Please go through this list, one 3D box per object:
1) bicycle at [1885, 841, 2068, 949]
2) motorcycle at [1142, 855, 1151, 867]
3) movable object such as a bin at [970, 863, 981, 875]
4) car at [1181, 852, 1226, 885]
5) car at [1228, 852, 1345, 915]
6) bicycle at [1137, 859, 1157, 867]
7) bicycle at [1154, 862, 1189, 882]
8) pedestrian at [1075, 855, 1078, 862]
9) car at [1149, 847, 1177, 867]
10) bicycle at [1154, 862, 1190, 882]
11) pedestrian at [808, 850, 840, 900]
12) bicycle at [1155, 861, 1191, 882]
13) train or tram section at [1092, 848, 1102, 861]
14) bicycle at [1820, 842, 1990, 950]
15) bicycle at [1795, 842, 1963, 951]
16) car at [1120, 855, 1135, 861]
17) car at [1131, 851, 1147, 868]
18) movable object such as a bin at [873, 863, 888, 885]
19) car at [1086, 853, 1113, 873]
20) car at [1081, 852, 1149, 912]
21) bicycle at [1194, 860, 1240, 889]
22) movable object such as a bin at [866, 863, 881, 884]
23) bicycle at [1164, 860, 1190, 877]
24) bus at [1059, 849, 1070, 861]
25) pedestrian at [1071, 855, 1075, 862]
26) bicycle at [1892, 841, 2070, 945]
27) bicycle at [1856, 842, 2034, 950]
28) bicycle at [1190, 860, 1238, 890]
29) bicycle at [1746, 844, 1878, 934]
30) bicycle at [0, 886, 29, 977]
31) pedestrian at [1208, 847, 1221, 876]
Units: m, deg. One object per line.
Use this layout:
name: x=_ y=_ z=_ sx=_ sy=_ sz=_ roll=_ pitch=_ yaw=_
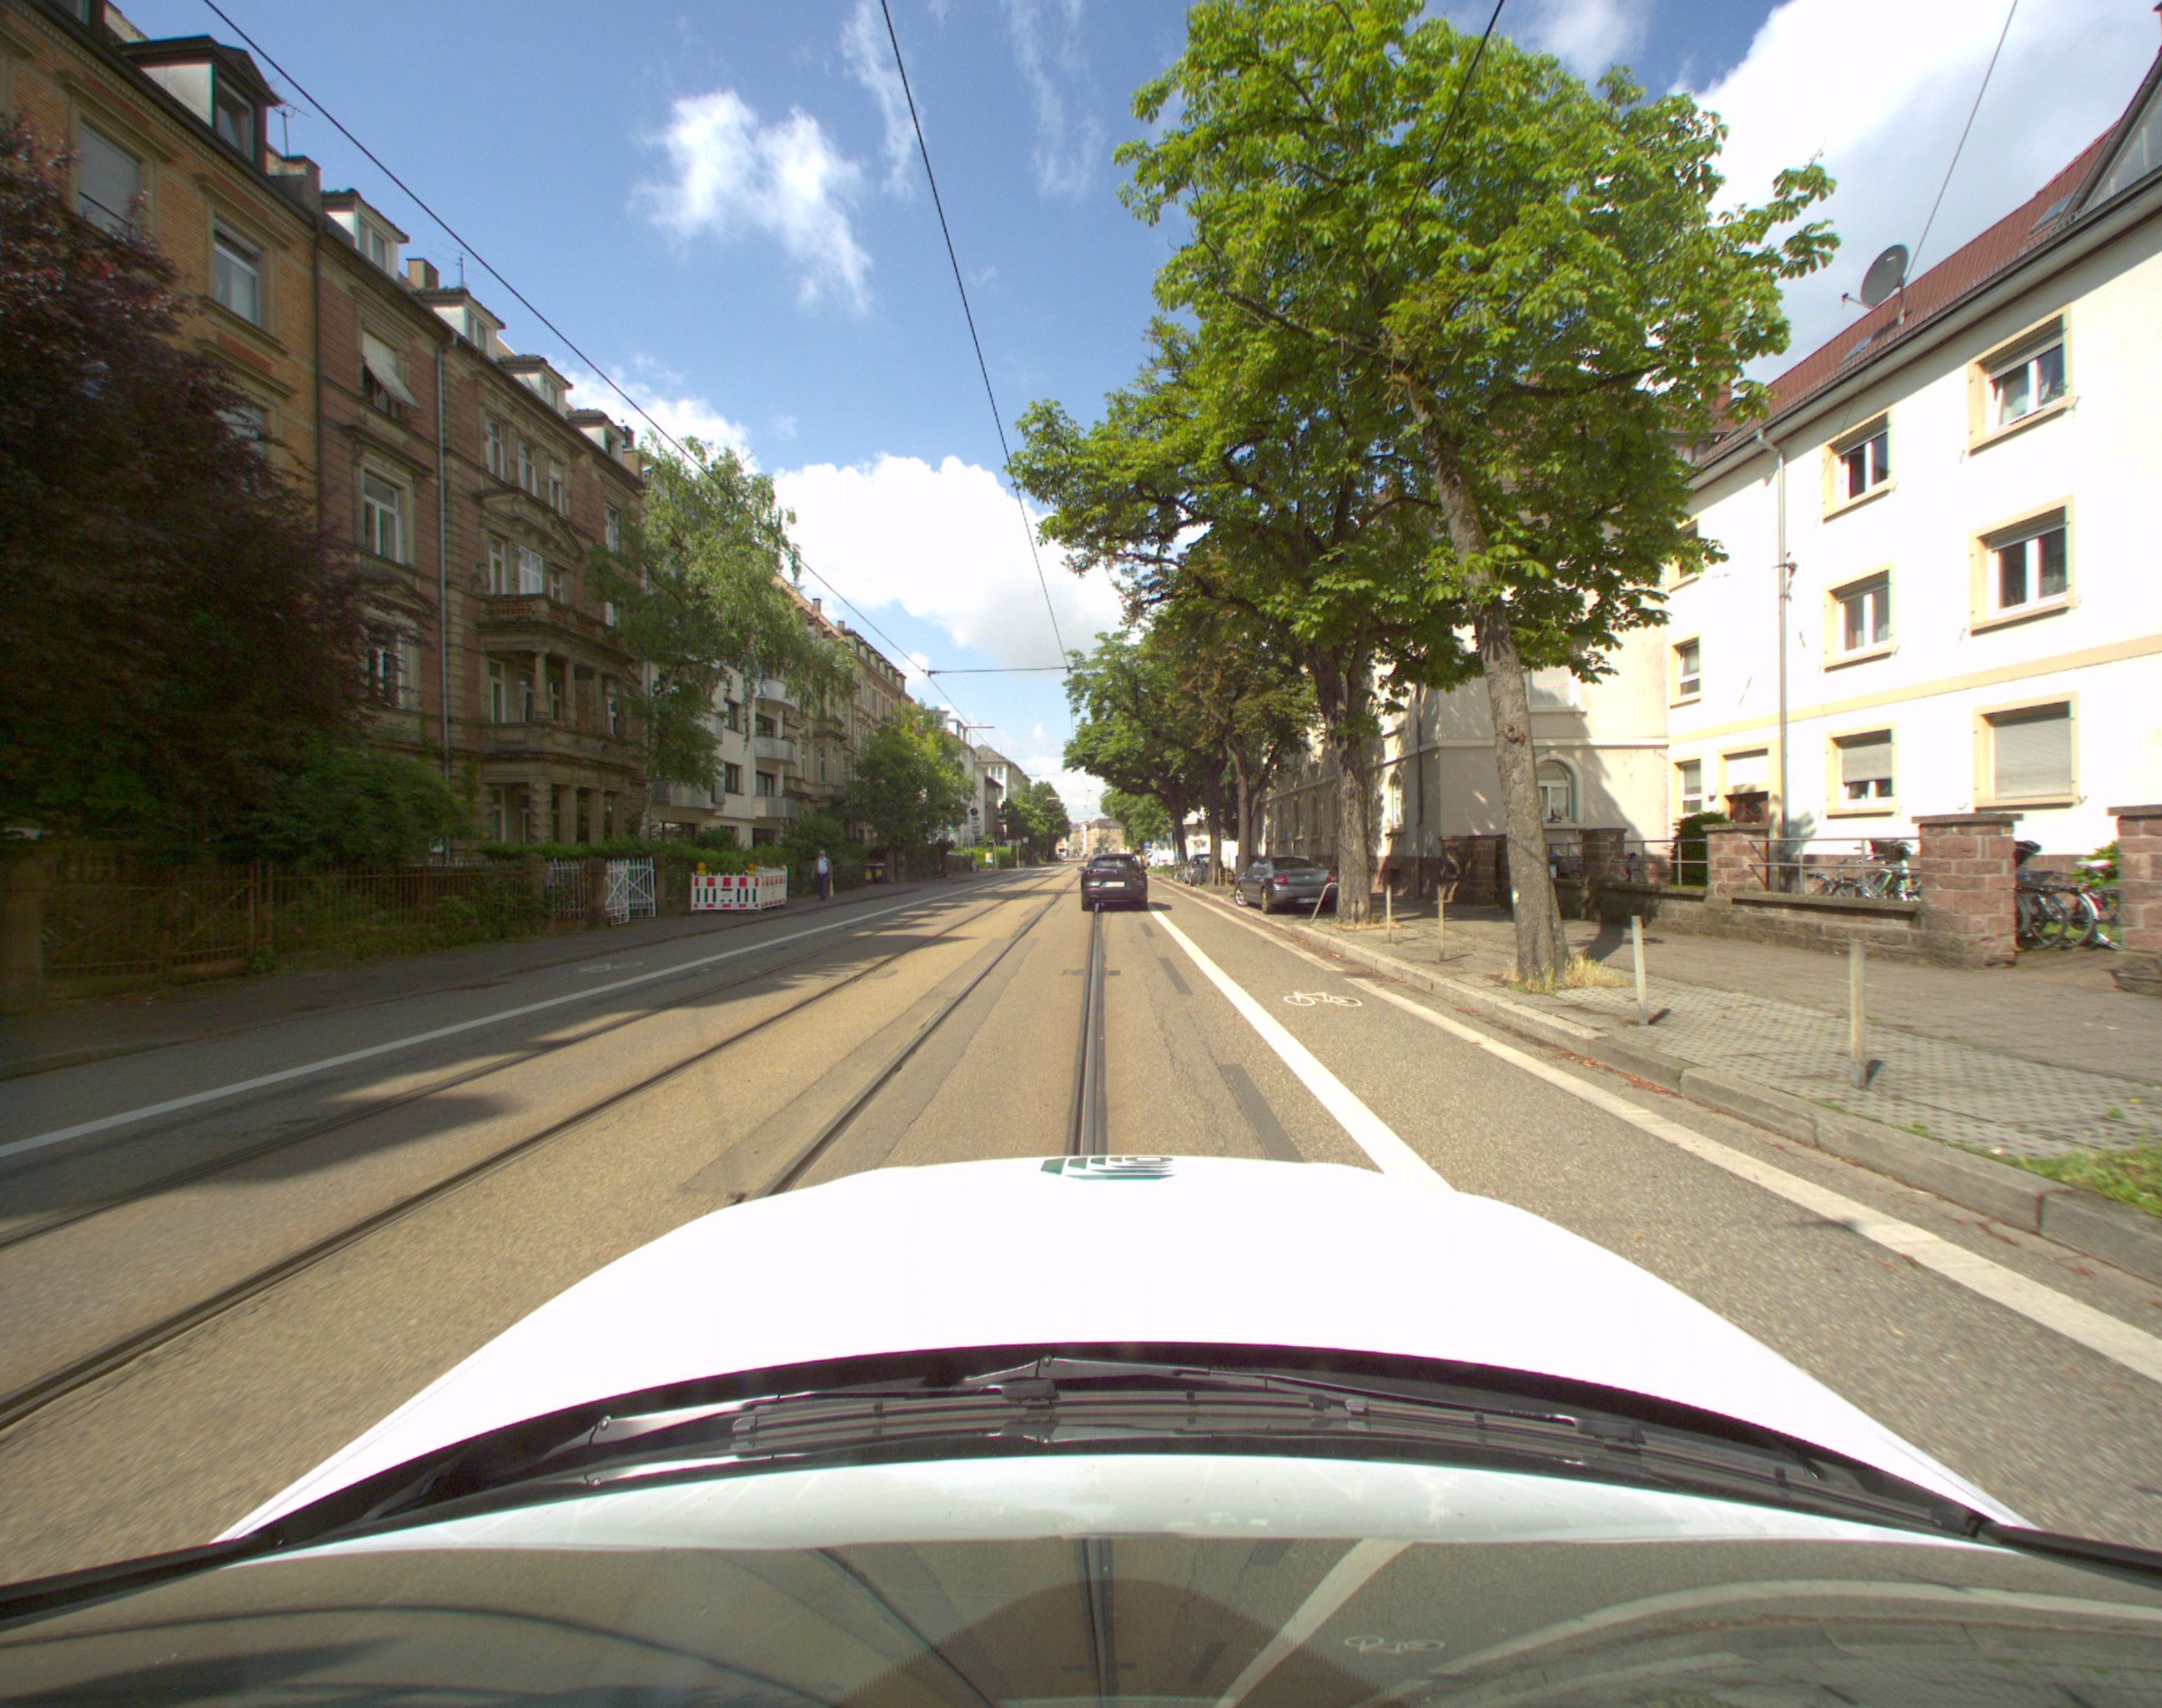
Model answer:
bicycle: x=10.997 y=0.466 z=10.083 sx=0.410 sy=1.211 sz=1.704 roll=-1 pitch=0 yaw=2
motorcycle: x=7.331 y=0.795 z=91.014 sx=0.791 sy=1.271 sz=2.423 roll=-1 pitch=0 yaw=1
movable object such as a bin: x=-8.984 y=1.274 z=69.406 sx=0.742 sy=0.988 sz=1.114 roll=1 pitch=0 yaw=1
car: x=5.841 y=0.676 z=39.178 sx=1.660 sy=1.430 sz=3.767 roll=-3 pitch=0 yaw=2
car: x=5.317 y=0.715 z=21.685 sx=1.841 sy=1.409 sz=4.391 roll=-3 pitch=0 yaw=-2
bicycle: x=7.608 y=1.080 z=93.525 sx=2.267 sy=0.861 sz=0.671 roll=-1 pitch=0 yaw=0
bicycle: x=4.951 y=0.965 z=44.620 sx=1.896 sy=1.072 sz=0.402 roll=-1 pitch=-1 yaw=1
pedestrian: x=-1.335 y=1.224 z=235.739 sx=0.882 sy=2.014 sz=0.617 roll=-1 pitch=0 yaw=-3
car: x=8.098 y=0.280 z=80.738 sx=1.784 sy=1.938 sz=4.982 roll=-1 pitch=0 yaw=-5
bicycle: x=4.919 y=0.975 z=44.221 sx=1.896 sy=1.072 sz=0.402 roll=-1 pitch=-1 yaw=1
pedestrian: x=-8.904 y=0.719 z=28.225 sx=0.820 sy=1.706 sz=0.891 roll=-1 pitch=-1 yaw=-2
bicycle: x=4.933 y=0.922 z=43.689 sx=1.896 sy=1.072 sz=0.402 roll=-1 pitch=-1 yaw=1
train or tram section: x=4.958 y=0.097 z=250.547 sx=2.562 sy=3.772 sz=13.031 roll=-1 pitch=0 yaw=2
bicycle: x=10.132 y=0.476 z=10.101 sx=0.410 sy=1.211 sz=1.704 roll=-1 pitch=0 yaw=2
bicycle: x=9.710 y=0.476 z=9.995 sx=0.410 sy=1.211 sz=1.704 roll=-1 pitch=0 yaw=2
car: x=12.624 y=1.133 z=222.780 sx=3.815 sy=1.618 sz=1.628 roll=1 pitch=0 yaw=-17
car: x=6.877 y=0.642 z=97.427 sx=1.714 sy=1.968 sz=4.209 roll=-1 pitch=0 yaw=2
movable object such as a bin: x=-10.544 y=1.040 z=42.826 sx=0.535 sy=1.094 sz=0.791 roll=-1 pitch=0 yaw=6
car: x=1.453 y=0.690 z=63.598 sx=1.987 sy=1.529 sz=4.000 roll=1 pitch=0 yaw=1
car: x=0.906 y=0.724 z=22.796 sx=1.715 sy=1.526 sz=3.590 roll=-1 pitch=0 yaw=1
bicycle: x=5.848 y=0.870 z=35.047 sx=1.881 sy=1.176 sz=0.515 roll=-2 pitch=-1 yaw=12
movable object such as a bin: x=-10.988 y=1.023 z=43.111 sx=0.546 sy=1.108 sz=0.791 roll=-1 pitch=0 yaw=6
bicycle: x=5.742 y=0.887 z=48.632 sx=1.485 sy=0.983 sz=0.259 roll=-2 pitch=-1 yaw=3
bus: x=-5.258 y=0.329 z=257.523 sx=2.684 sy=3.421 sz=10.999 roll=1 pitch=0 yaw=-5
pedestrian: x=-2.320 y=1.259 z=235.765 sx=0.882 sy=2.014 sz=0.617 roll=-1 pitch=0 yaw=-3
bicycle: x=11.394 y=0.456 z=10.400 sx=0.410 sy=1.211 sz=1.704 roll=-1 pitch=0 yaw=2
bicycle: x=10.582 y=0.474 z=10.061 sx=0.410 sy=1.211 sz=1.704 roll=-1 pitch=0 yaw=2
bicycle: x=5.644 y=0.890 z=34.550 sx=1.924 sy=1.176 sz=0.515 roll=-2 pitch=-1 yaw=12
bicycle: x=10.561 y=0.473 z=11.839 sx=0.410 sy=1.211 sz=1.704 roll=-1 pitch=0 yaw=2
bicycle: x=-13.313 y=0.899 z=9.074 sx=2.203 sy=1.019 sz=0.466 roll=-1 pitch=0 yaw=-10
pedestrian: x=8.524 y=0.473 z=52.022 sx=0.608 sy=1.836 sz=0.878 roll=-1 pitch=-2 yaw=-1
